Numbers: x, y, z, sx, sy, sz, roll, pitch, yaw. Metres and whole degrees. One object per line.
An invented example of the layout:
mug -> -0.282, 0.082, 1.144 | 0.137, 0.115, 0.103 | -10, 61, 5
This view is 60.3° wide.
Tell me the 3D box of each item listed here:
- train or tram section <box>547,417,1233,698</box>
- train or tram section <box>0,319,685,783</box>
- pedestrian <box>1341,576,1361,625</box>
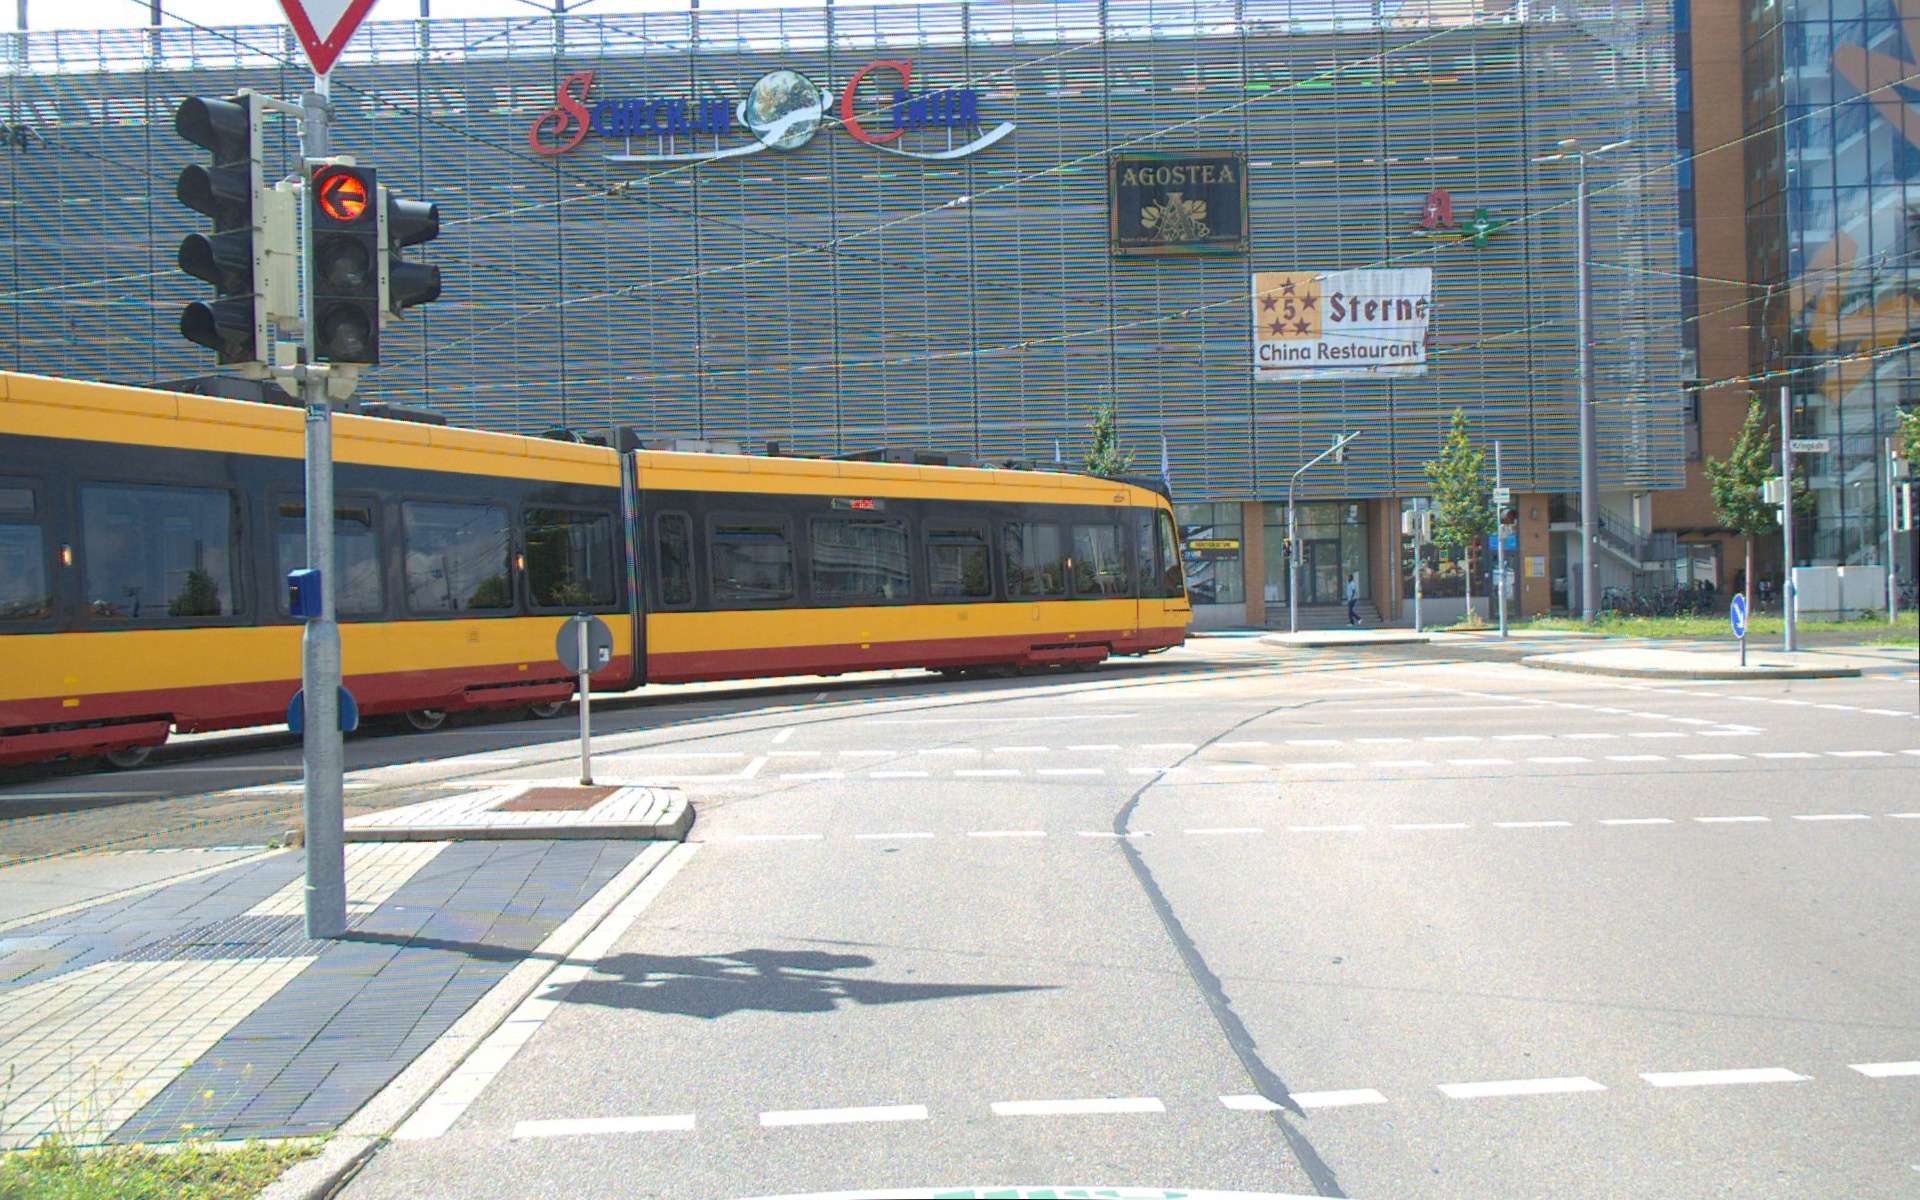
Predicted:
train or tram section -> -0.456, -0.723, 27.276 | 3.014, 3.684, 12.547 | -2, 0, 45
train or tram section -> -7.274, -0.424, 17.539 | 2.993, 3.666, 10.990 | -2, 0, 23
pedestrian -> 14.197, 0.010, 60.067 | 0.605, 1.776, 0.629 | 0, 0, 1
